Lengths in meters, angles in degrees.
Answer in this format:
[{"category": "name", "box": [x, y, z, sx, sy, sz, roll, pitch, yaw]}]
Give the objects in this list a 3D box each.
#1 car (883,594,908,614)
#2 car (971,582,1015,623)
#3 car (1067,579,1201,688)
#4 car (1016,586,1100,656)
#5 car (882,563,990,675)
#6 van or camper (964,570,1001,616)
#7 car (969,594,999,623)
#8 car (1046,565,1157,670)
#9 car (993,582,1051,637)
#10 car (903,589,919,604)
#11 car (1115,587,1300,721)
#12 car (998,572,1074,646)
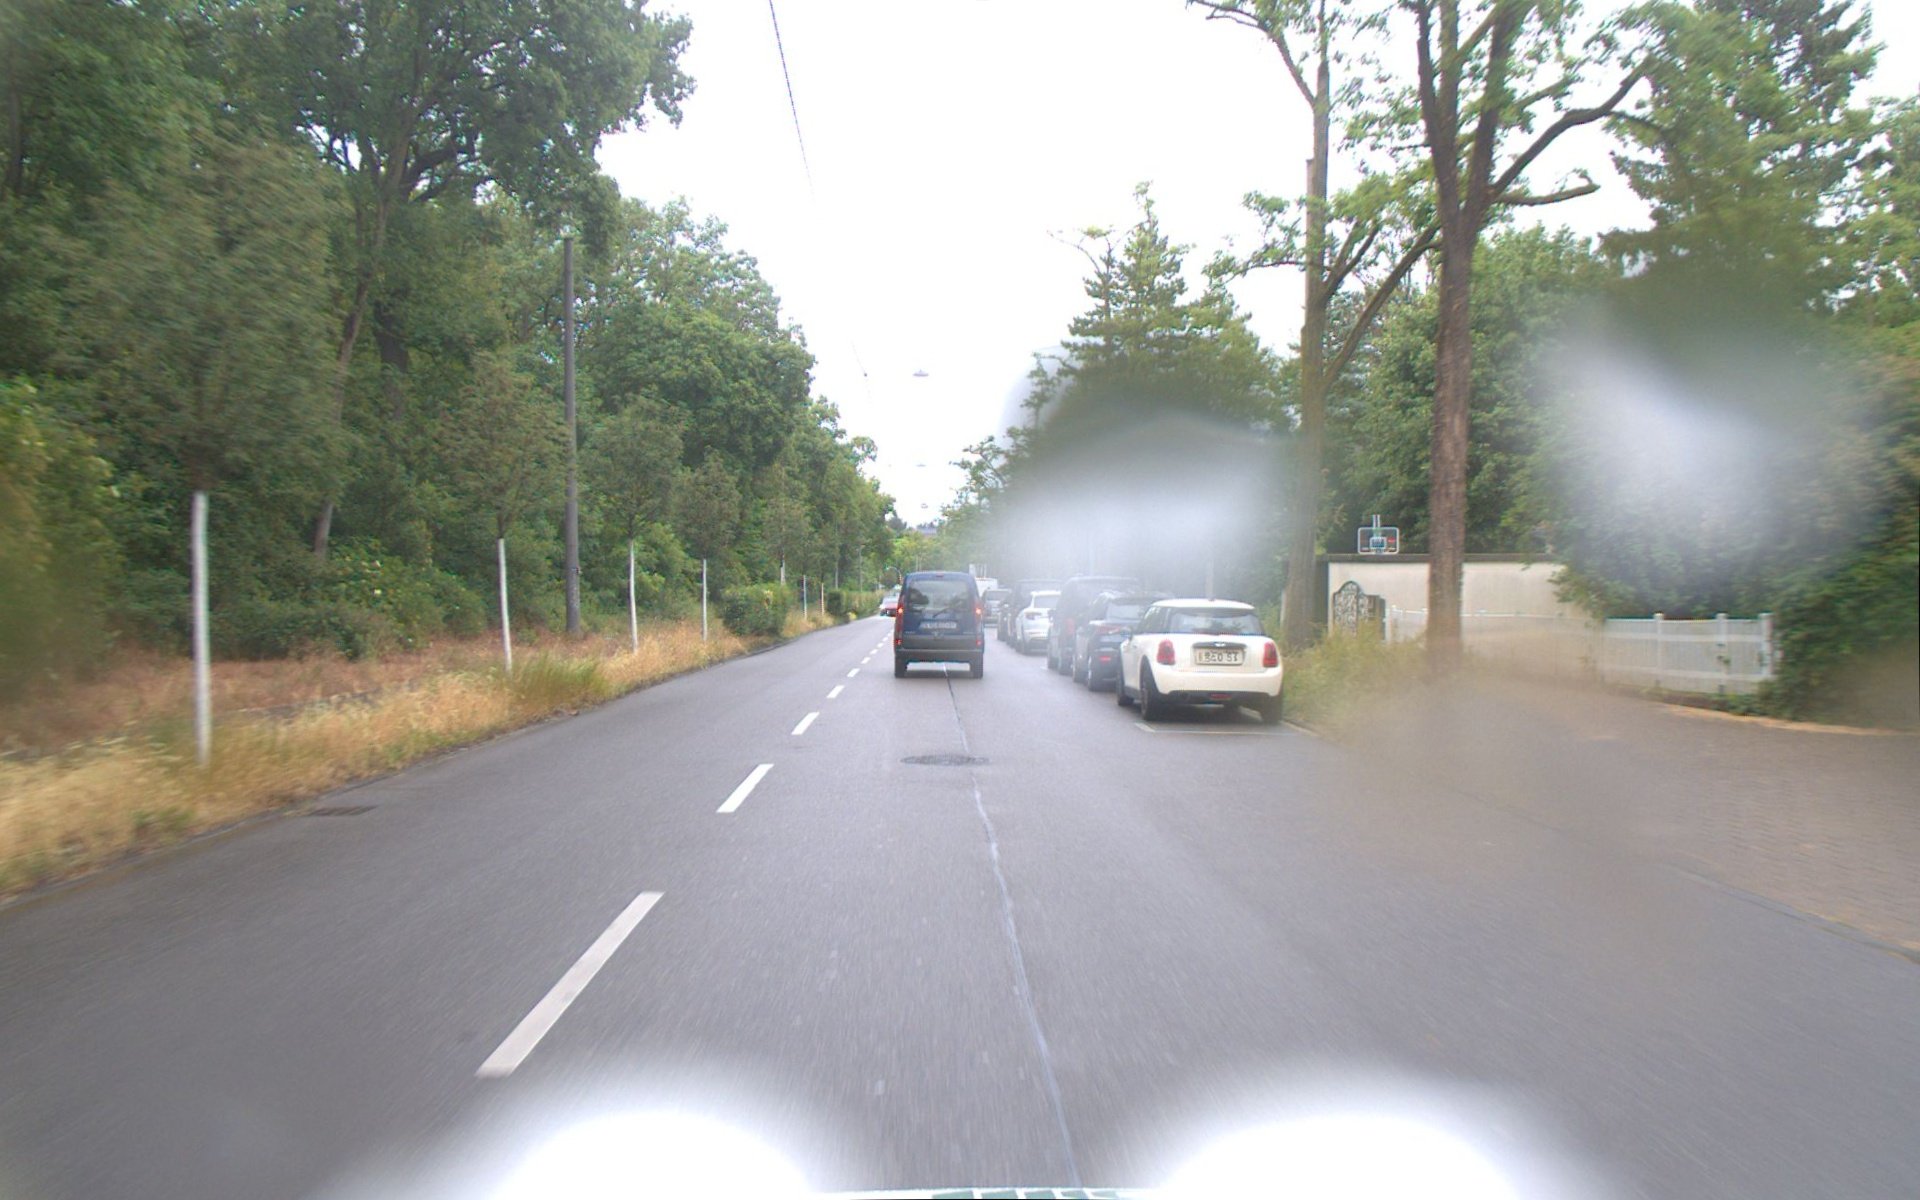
[{"category": "car", "box": [-5.045, 0.309, 129.438, 1.822, 1.506, 4.156, -1, 0, -1]}, {"category": "car", "box": [1.554, 0.112, 79.286, 1.778, 1.845, 4.281, 1, 1, -3]}, {"category": "car", "box": [2.752, 0.481, 26.952, 1.644, 1.583, 4.075, 1, 1, -1]}, {"category": "car", "box": [2.472, 0.505, 42.764, 1.768, 1.641, 4.285, 1, 1, -2]}, {"category": "car", "box": [-0.488, 0.298, 29.930, 1.732, 1.862, 3.539, 1, 1, -4]}, {"category": "van or camper", "box": [1.339, -0.455, 100.128, 2.036, 2.697, 5.345, 1, 1, -1]}, {"category": "car", "box": [1.371, 0.449, 92.303, 1.592, 1.489, 3.809, 1, 1, 2]}, {"category": "car", "box": [2.682, 0.289, 32.188, 1.695, 1.879, 4.229, 1, 1, -1]}, {"category": "car", "box": [2.063, 0.292, 56.006, 1.737, 1.753, 4.326, 1, 1, -1]}, {"category": "car", "box": [-5.458, -0.391, 183.161, 1.747, 1.505, 3.966, -1, -1, -2]}, {"category": "car", "box": [3.053, 0.615, 21.088, 1.702, 1.490, 3.724, 1, 1, -1]}, {"category": "car", "box": [2.208, 0.218, 49.283, 1.953, 2.049, 4.887, 1, 1, -1]}]
